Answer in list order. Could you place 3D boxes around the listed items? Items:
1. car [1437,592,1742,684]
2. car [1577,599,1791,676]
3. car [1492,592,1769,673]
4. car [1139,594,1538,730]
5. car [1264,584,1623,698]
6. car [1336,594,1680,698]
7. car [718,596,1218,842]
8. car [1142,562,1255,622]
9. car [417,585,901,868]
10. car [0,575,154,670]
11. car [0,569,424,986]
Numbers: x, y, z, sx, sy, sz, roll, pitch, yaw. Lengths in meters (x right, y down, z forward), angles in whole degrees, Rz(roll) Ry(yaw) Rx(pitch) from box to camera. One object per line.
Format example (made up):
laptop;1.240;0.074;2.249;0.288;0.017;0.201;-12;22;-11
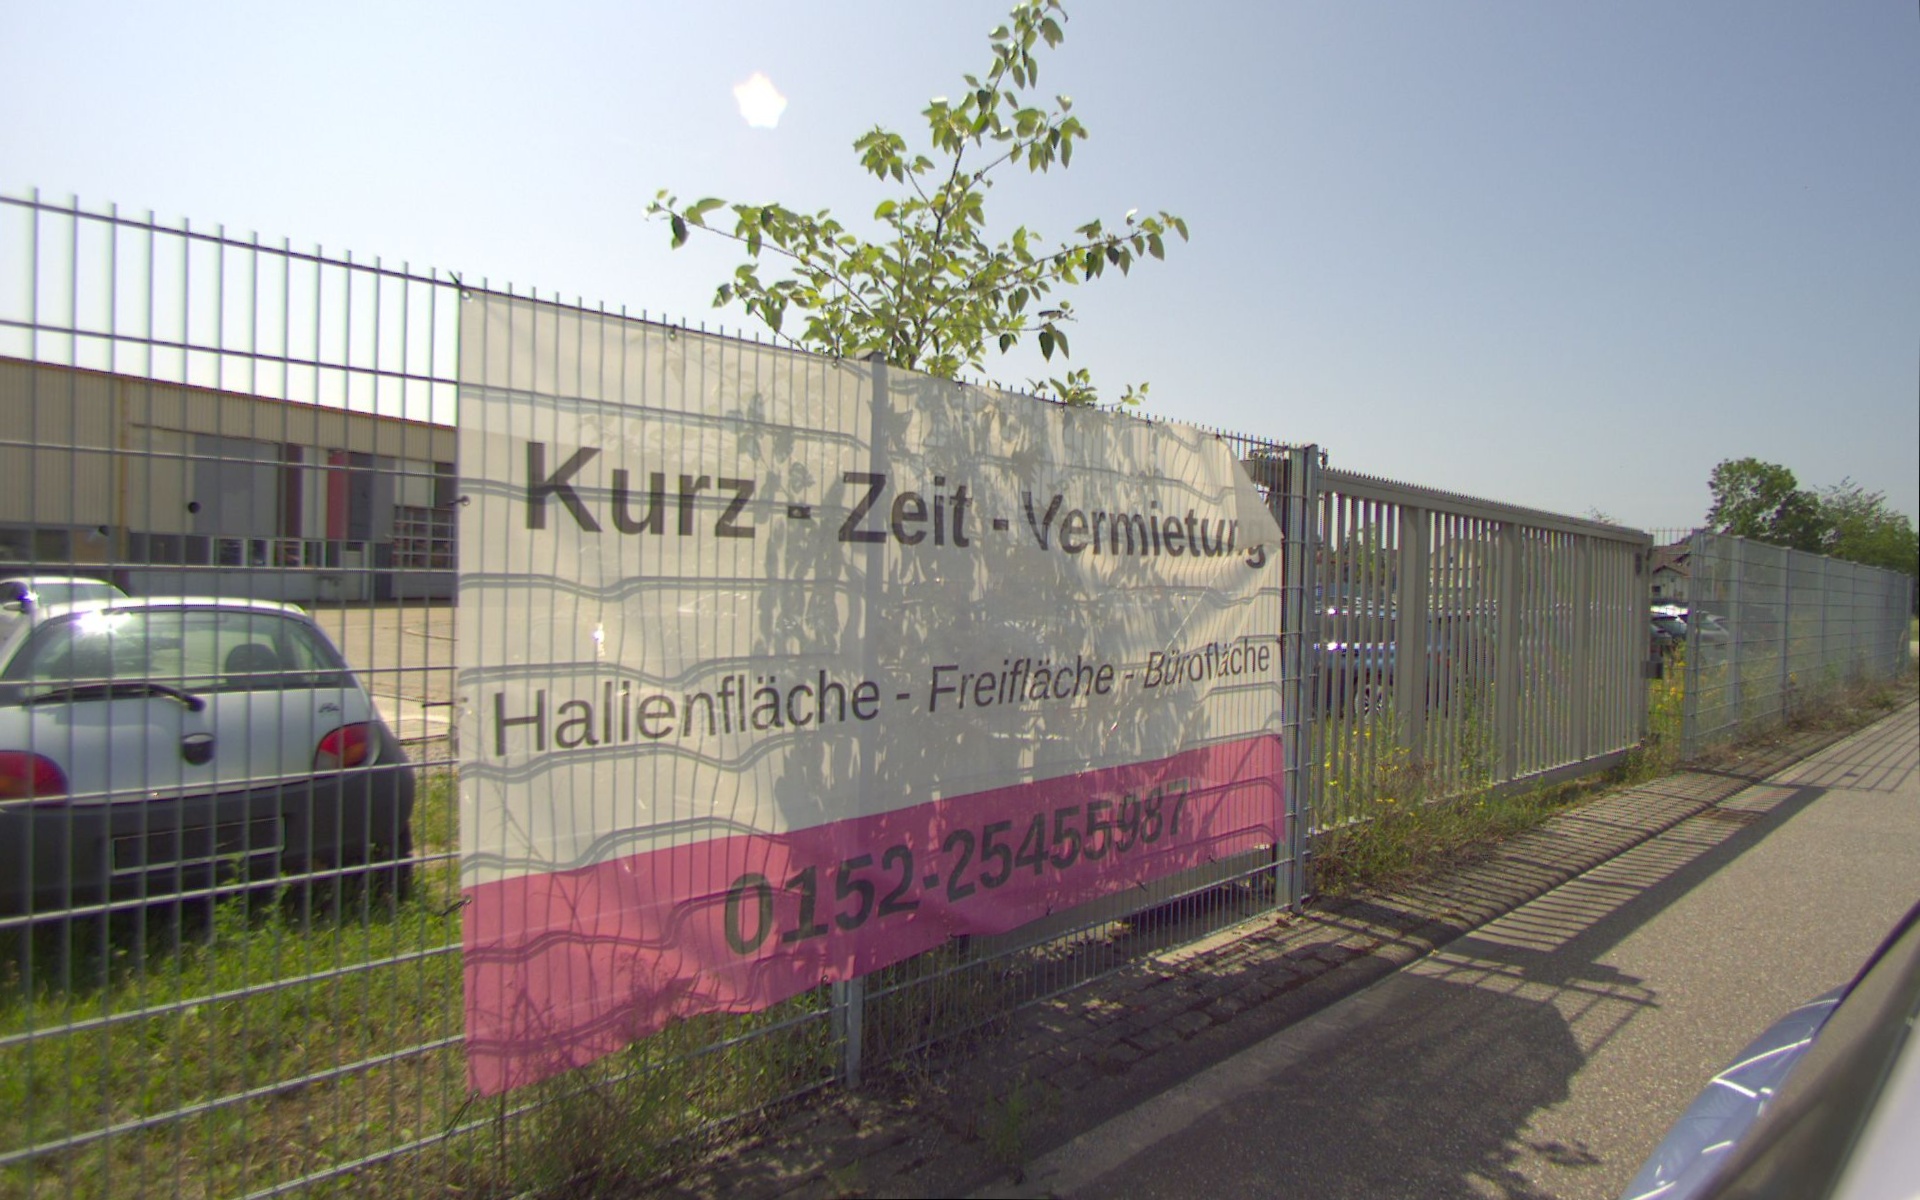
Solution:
car;10.976;0.618;17.925;1.804;1.424;4.221;0;-1;-37
car;18.780;0.912;26.396;1.735;1.657;4.285;2;1;-44
car;13.162;0.608;20.116;1.804;1.424;4.221;0;-1;-37
car;4.583;0.685;12.900;1.736;1.424;4.518;0;-1;-39
car;6.919;0.551;14.949;1.608;1.424;4.518;0;-1;-39
car;8.580;0.650;16.179;1.808;1.424;4.513;0;-1;-43
car;-0.169;0.759;8.217;1.611;1.493;4.165;0;-1;-44
car;11.182;-0.397;47.575;4.714;2.617;1.956;3;1;34
car;-2.218;0.712;6.866;1.710;1.372;3.666;4;-5;-42
car;-15.698;0.328;17.551;3.638;1.454;1.519;2;1;31
car;-3.925;0.548;4.881;1.503;1.371;3.270;0;1;-44
